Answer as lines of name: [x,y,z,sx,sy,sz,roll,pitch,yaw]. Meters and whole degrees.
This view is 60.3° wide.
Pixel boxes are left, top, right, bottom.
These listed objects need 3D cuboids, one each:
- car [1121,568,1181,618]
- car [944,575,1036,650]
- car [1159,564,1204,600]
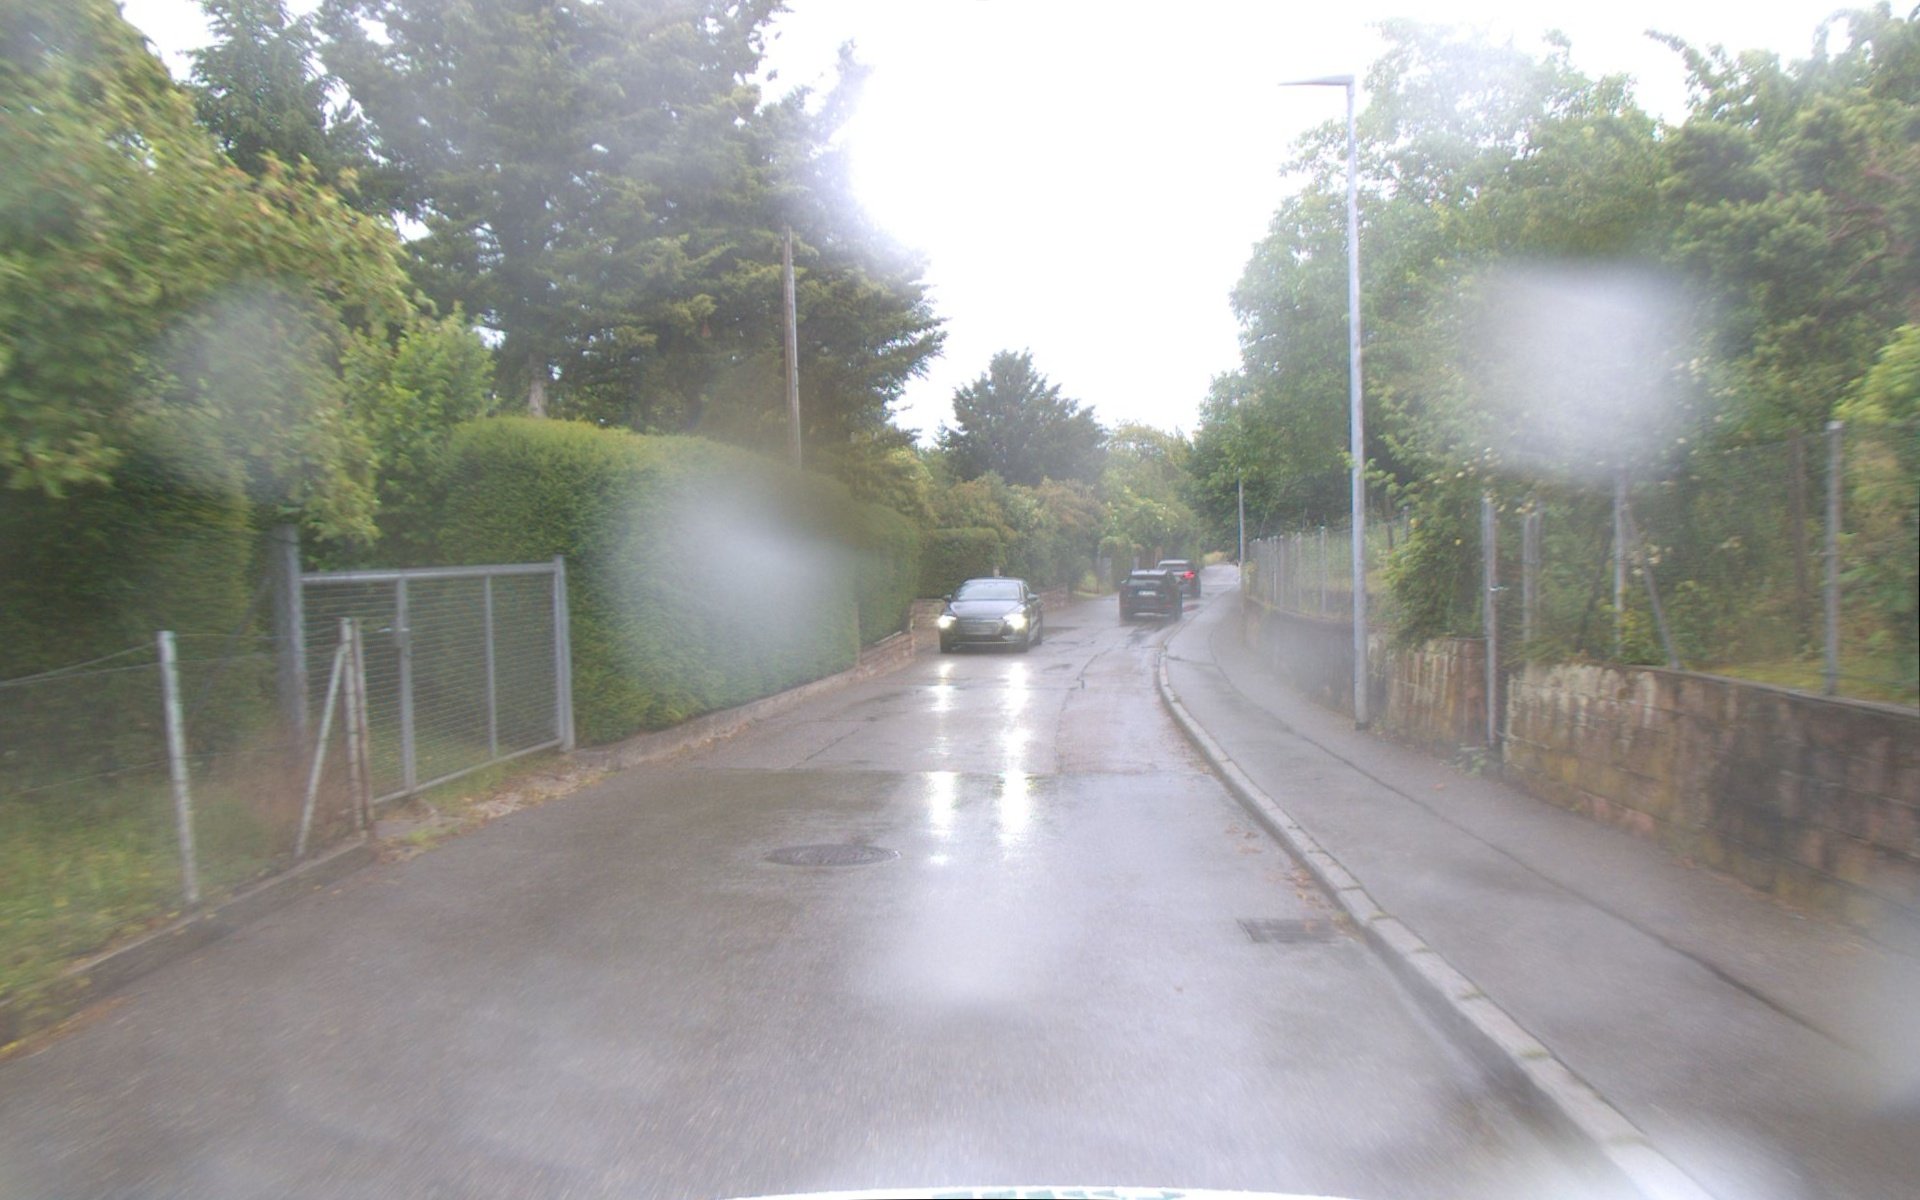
car: [5.826,-0.218,50.226,1.600,1.475,3.548,0,0,10]
car: [0.712,0.232,36.150,1.849,1.550,4.424,0,1,3]
car: [9.016,-0.728,67.173,1.600,1.438,3.548,0,0,11]
